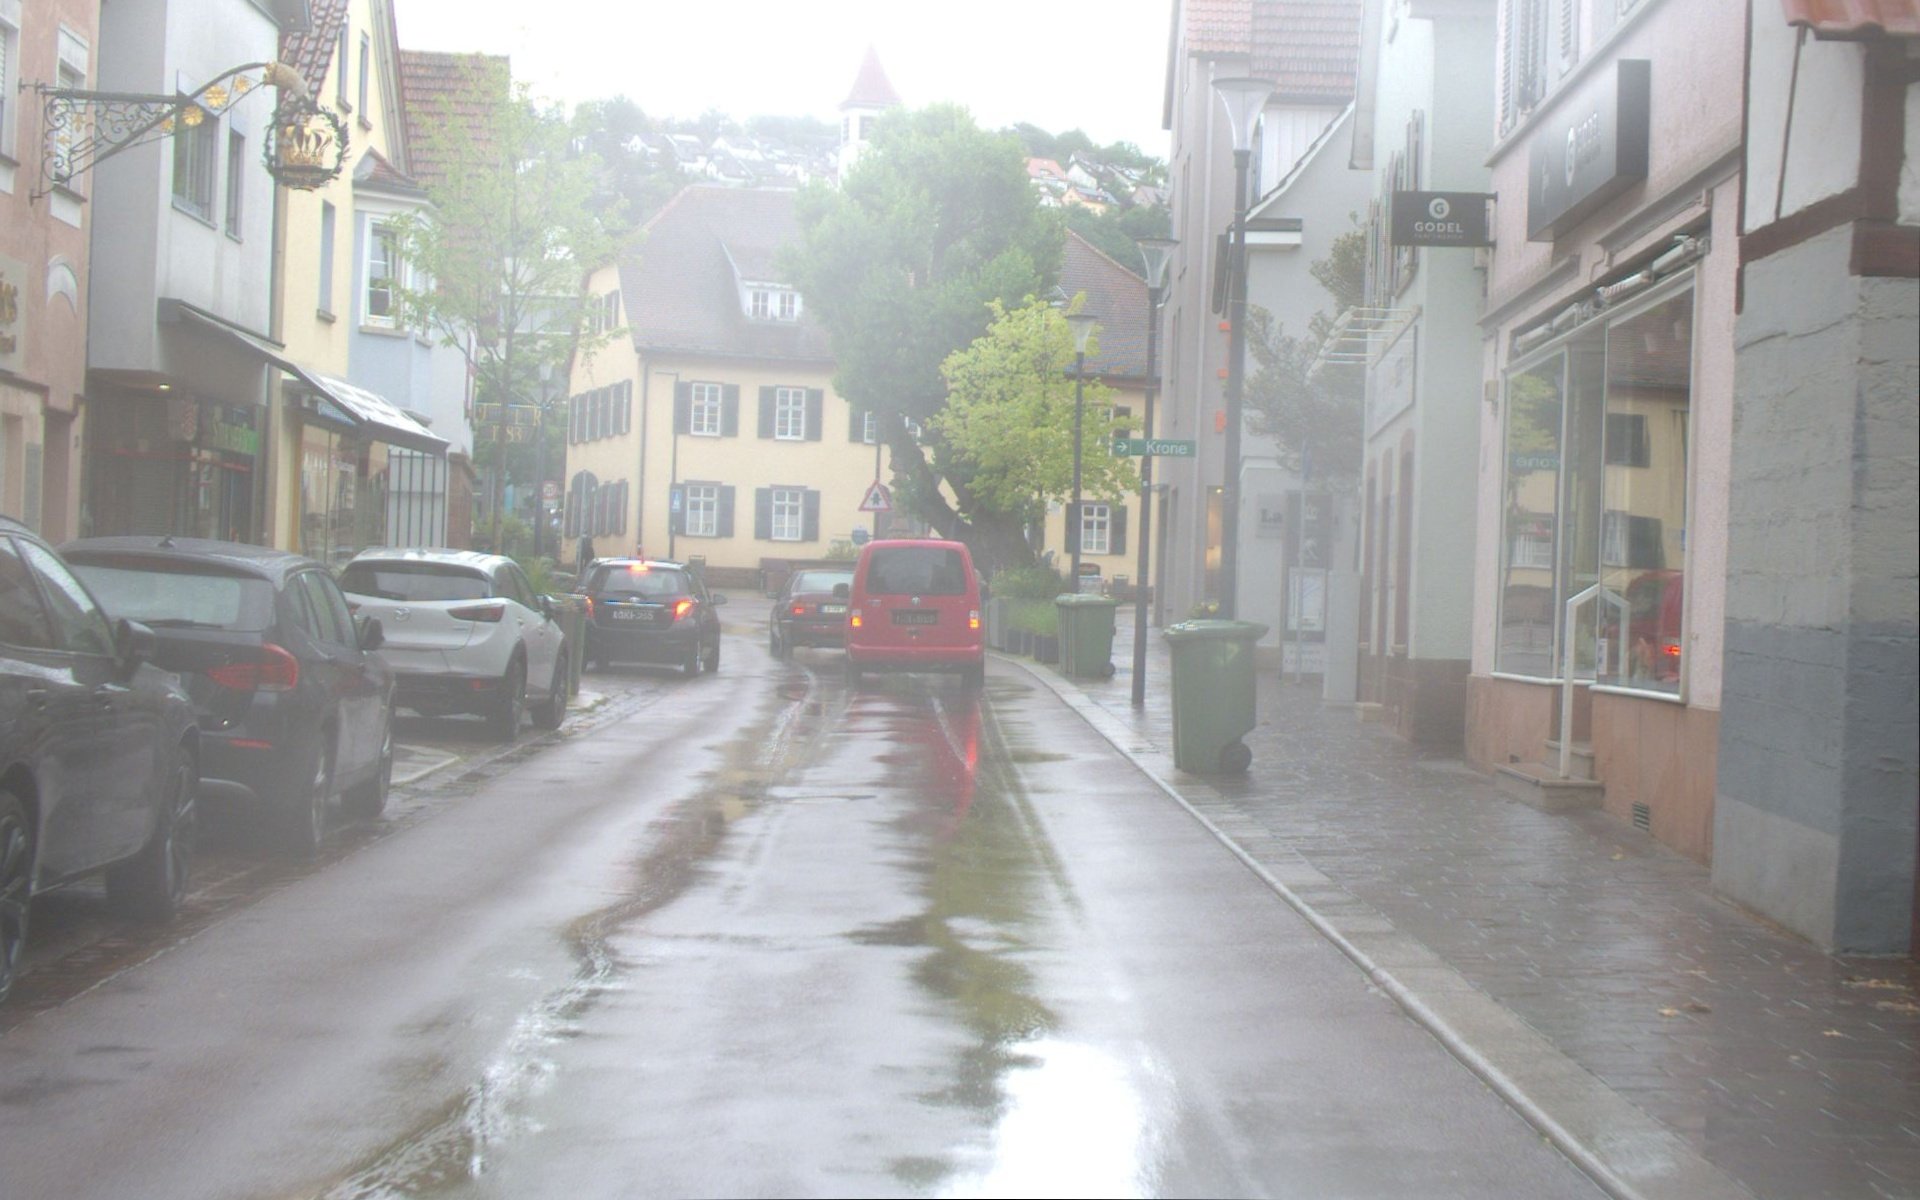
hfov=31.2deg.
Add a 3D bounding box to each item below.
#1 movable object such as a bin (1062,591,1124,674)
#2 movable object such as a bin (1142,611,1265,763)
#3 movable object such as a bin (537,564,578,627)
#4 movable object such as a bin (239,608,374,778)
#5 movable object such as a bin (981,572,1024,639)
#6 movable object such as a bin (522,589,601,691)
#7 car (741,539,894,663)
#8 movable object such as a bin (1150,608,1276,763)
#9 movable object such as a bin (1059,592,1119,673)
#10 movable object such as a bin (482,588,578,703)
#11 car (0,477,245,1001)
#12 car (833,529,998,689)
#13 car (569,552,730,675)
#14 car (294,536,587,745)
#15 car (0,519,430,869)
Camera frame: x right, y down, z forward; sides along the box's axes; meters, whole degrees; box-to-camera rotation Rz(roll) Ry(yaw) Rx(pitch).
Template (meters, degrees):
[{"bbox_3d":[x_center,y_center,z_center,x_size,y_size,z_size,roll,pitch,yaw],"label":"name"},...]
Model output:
[{"bbox_3d":[1.790,0.440,46.345,0.768,1.076,0.599,3,-1,1],"label":"movable object such as a bin"},{"bbox_3d":[1.784,0.635,25.248,0.796,1.077,0.583,2,-1,-3],"label":"movable object such as a bin"},{"bbox_3d":[-7.297,-0.083,62.297,0.659,1.106,0.616,3,-1,-8],"label":"movable object such as a bin"},{"bbox_3d":[-4.317,0.608,22.745,0.769,1.078,0.676,3,-1,-5],"label":"movable object such as a bin"},{"bbox_3d":[0.754,0.097,60.959,0.631,1.146,0.579,3,-1,-8],"label":"movable object such as a bin"},{"bbox_3d":[-4.273,0.433,36.909,0.709,1.049,0.704,3,-1,1],"label":"movable object such as a bin"},{"bbox_3d":[-2.319,0.032,54.993,1.993,1.793,4.001,3,-1,-8],"label":"car"},{"bbox_3d":[1.809,0.607,24.629,0.792,1.077,0.615,2,-1,-3],"label":"movable object such as a bin"},{"bbox_3d":[1.762,0.451,47.037,0.754,1.060,0.600,3,-1,1],"label":"movable object such as a bin"},{"bbox_3d":[-4.304,0.449,34.447,0.787,1.081,0.693,4,1,2],"label":"movable object such as a bin"},{"bbox_3d":[-4.005,0.370,12.652,1.824,1.660,4.643,3,2,-2],"label":"car"},{"bbox_3d":[-0.542,0.074,43.764,1.894,1.805,4.000,4,1,0],"label":"car"},{"bbox_3d":[-4.084,0.148,45.718,1.692,1.438,3.885,3,1,0],"label":"car"},{"bbox_3d":[-4.338,0.282,29.272,1.692,1.533,4.121,4,1,1],"label":"car"},{"bbox_3d":[-4.017,0.398,18.494,1.779,1.533,4.291,4,1,-3],"label":"car"}]
